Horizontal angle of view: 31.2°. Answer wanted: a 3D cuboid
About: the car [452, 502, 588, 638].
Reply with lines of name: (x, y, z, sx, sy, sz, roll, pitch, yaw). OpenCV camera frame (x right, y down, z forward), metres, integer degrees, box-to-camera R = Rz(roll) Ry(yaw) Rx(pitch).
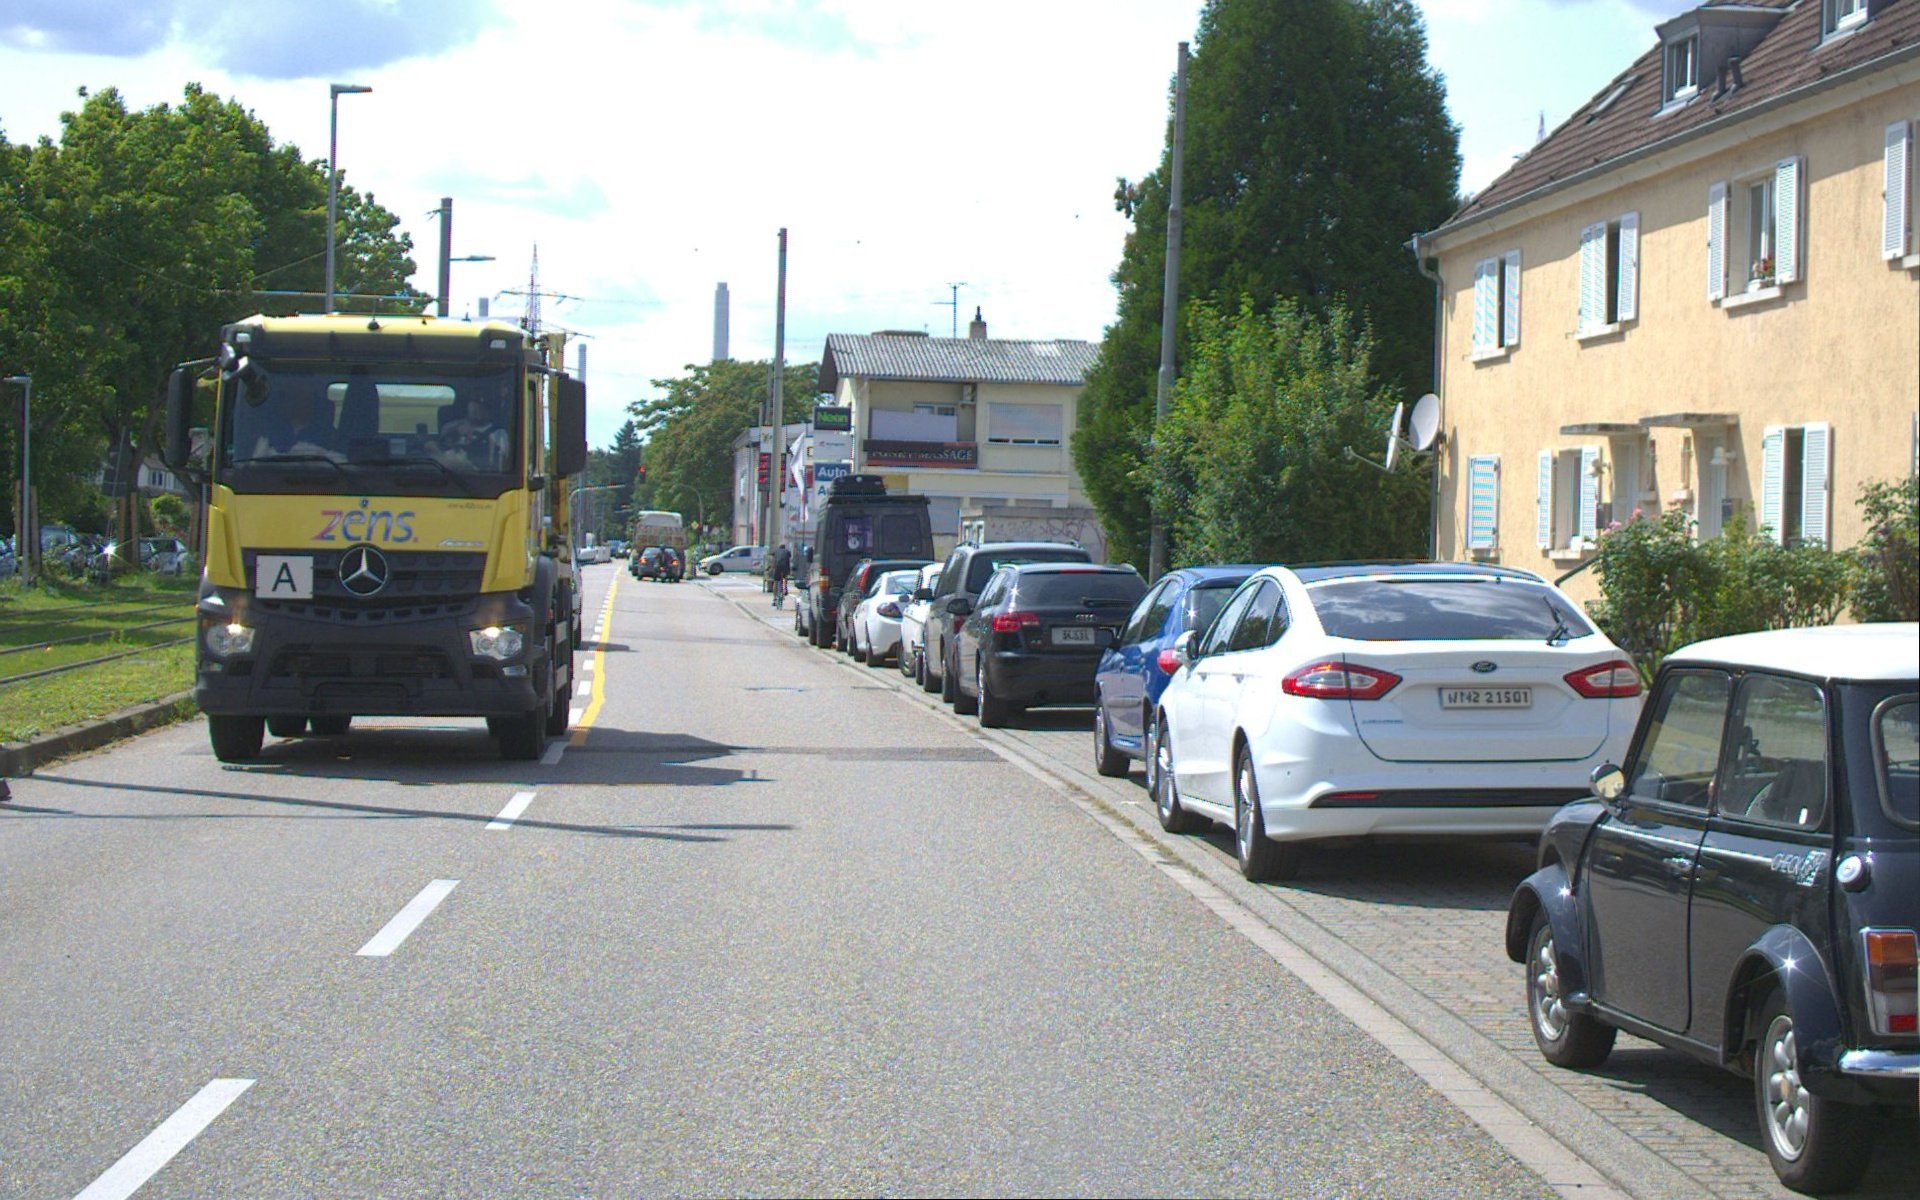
car: (-6.678, -0.487, 52.023, 1.928, 1.952, 5.378, 0, 1, -8)

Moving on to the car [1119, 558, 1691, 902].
car: (2.025, 0.534, 17.106, 1.798, 1.453, 4.766, 0, 0, -5)

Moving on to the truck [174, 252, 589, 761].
truck: (-4.308, -0.713, 26.912, 2.559, 3.447, 7.151, 0, 1, -4)

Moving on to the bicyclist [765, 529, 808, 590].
bicyclist: (-4.557, -1.078, 90.381, 0.994, 1.564, 1.140, 1, 1, -8)

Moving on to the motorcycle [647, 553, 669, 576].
motorcycle: (-12.857, -1.510, 146.425, 0.883, 0.921, 2.616, 1, 1, -6)

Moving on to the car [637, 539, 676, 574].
car: (-13.359, -1.926, 151.261, 1.568, 1.493, 4.150, 1, 1, -7)

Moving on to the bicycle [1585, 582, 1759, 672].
bicycle: (7.902, 0.297, 38.165, 1.859, 0.953, 0.367, 1, 1, -9)

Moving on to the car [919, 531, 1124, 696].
car: (0.595, 0.098, 36.449, 1.763, 1.637, 4.001, 0, 1, -5)

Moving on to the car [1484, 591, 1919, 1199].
car: (2.467, 0.671, 9.085, 1.341, 1.336, 3.288, 2, 0, -5)

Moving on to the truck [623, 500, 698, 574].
truck: (-14.739, -3.054, 168.388, 3.220, 3.390, 11.356, 1, 1, -7)

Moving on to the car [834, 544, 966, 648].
car: (-0.959, -0.092, 52.707, 1.763, 1.497, 4.001, 0, 1, -5)

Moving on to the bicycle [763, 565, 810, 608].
bicycle: (-4.572, -0.370, 90.359, 0.994, 1.045, 2.813, 1, 1, -8)

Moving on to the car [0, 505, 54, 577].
car: (-21.594, -1.318, 76.847, 1.878, 1.547, 4.379, 1, 1, -6)

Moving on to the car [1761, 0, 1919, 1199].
car: (2.660, 0.211, 4.189, 1.929, 2.472, 5.518, 1, 1, -1)

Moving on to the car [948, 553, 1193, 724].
car: (0.937, 0.296, 31.219, 1.763, 1.412, 4.001, 0, 1, -5)

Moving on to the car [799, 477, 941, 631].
car: (-1.598, -0.810, 58.765, 1.959, 2.470, 6.061, 0, 1, -6)

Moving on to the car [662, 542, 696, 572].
car: (-14.785, -2.278, 180.824, 1.568, 1.493, 4.150, 1, 1, -7)

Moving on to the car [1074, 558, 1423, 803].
car: (1.789, 0.451, 22.467, 1.620, 1.412, 4.001, 0, 1, -5)

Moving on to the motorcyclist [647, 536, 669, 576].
motorcyclist: (-12.826, -1.875, 146.166, 0.883, 1.661, 1.109, 1, 1, -6)

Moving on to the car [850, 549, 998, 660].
car: (-0.538, 0.036, 47.544, 1.763, 1.435, 4.001, 0, 1, -5)

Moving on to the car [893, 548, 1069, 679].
car: (0.206, 0.125, 41.351, 1.763, 1.471, 4.001, 0, 1, -5)

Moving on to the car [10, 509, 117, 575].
car: (-22.305, -1.436, 85.696, 1.878, 1.547, 4.399, 1, 1, -6)

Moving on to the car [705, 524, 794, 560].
car: (-11.591, -3.181, 189.042, 4.640, 1.816, 1.836, 1, 1, -10)
